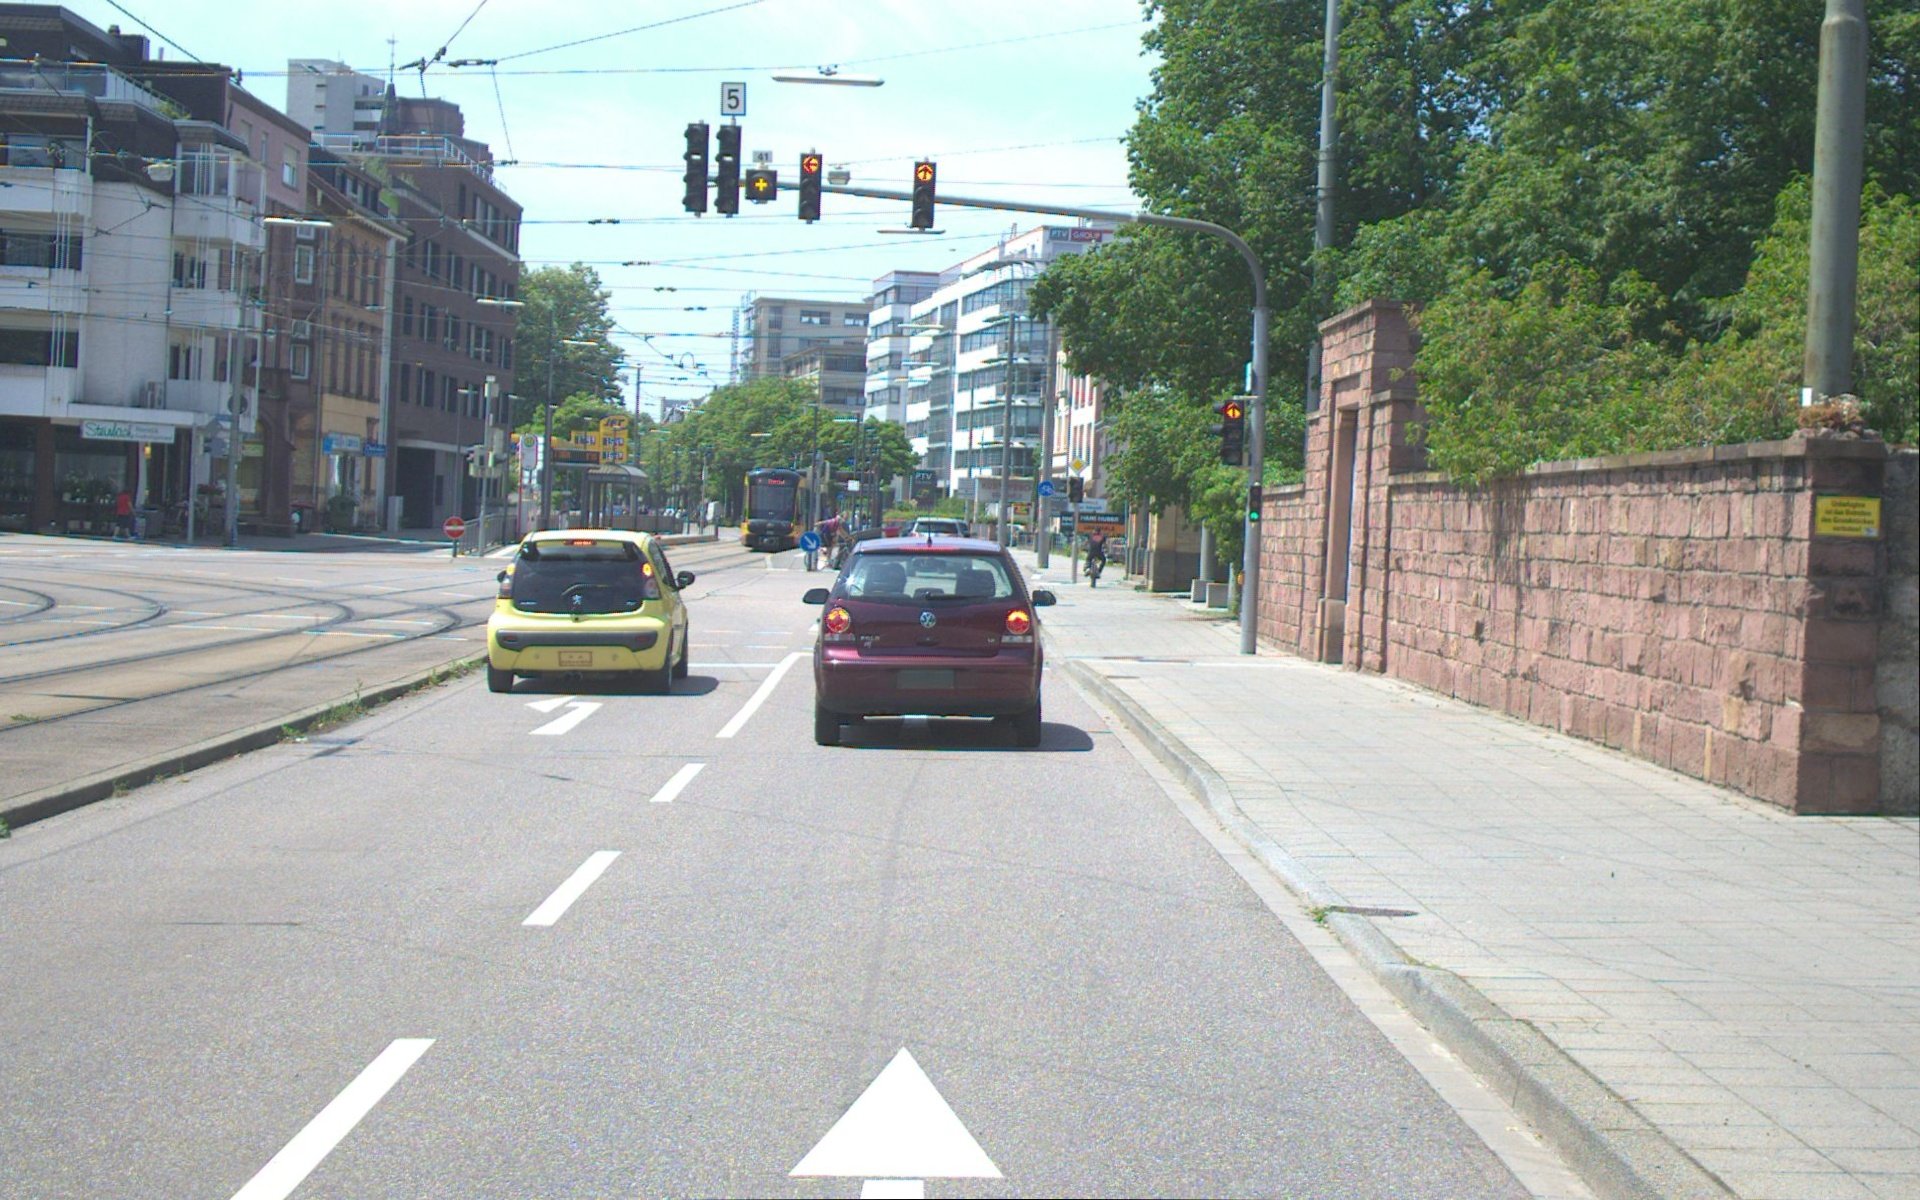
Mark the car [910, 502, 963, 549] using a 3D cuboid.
[{"bbox_3d":[-0.722,-2.282,105.368,1.572,1.411,3.720,0,2,-1],"label":"car"}]

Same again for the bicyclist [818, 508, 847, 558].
[{"bbox_3d":[-3.623,-1.910,97.483,0.765,1.401,0.506,1,1,-4],"label":"bicyclist"}]

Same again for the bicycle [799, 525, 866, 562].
[{"bbox_3d":[-3.620,-1.606,97.486,1.865,1.004,0.579,1,1,-4],"label":"bicycle"}]

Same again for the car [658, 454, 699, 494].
[{"bbox_3d":[-14.776,-6.618,180.781,1.735,2.006,4.000,2,2,0],"label":"car"}]

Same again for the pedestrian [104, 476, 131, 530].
[{"bbox_3d":[-23.877,-2.748,97.468,0.484,1.535,0.537,2,1,32],"label":"pedestrian"}]

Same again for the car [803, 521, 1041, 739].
[{"bbox_3d":[-0.279,0.157,25.468,1.610,1.458,4.086,0,2,-1],"label":"car"}]

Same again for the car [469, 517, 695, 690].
[{"bbox_3d":[-3.406,-0.007,31.464,1.723,1.440,3.293,1,2,-1],"label":"car"}]

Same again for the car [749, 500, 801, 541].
[{"bbox_3d":[-7.695,-3.306,143.447,1.938,1.635,4.000,1,1,-1],"label":"car"}]

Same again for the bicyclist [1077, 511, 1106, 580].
[{"bbox_3d":[3.509,-1.464,91.761,0.721,1.812,0.888,1,1,0],"label":"bicyclist"}]

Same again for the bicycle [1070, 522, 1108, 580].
[{"bbox_3d":[3.475,-1.320,92.837,0.835,1.520,4.000,1,1,0],"label":"bicycle"}]
